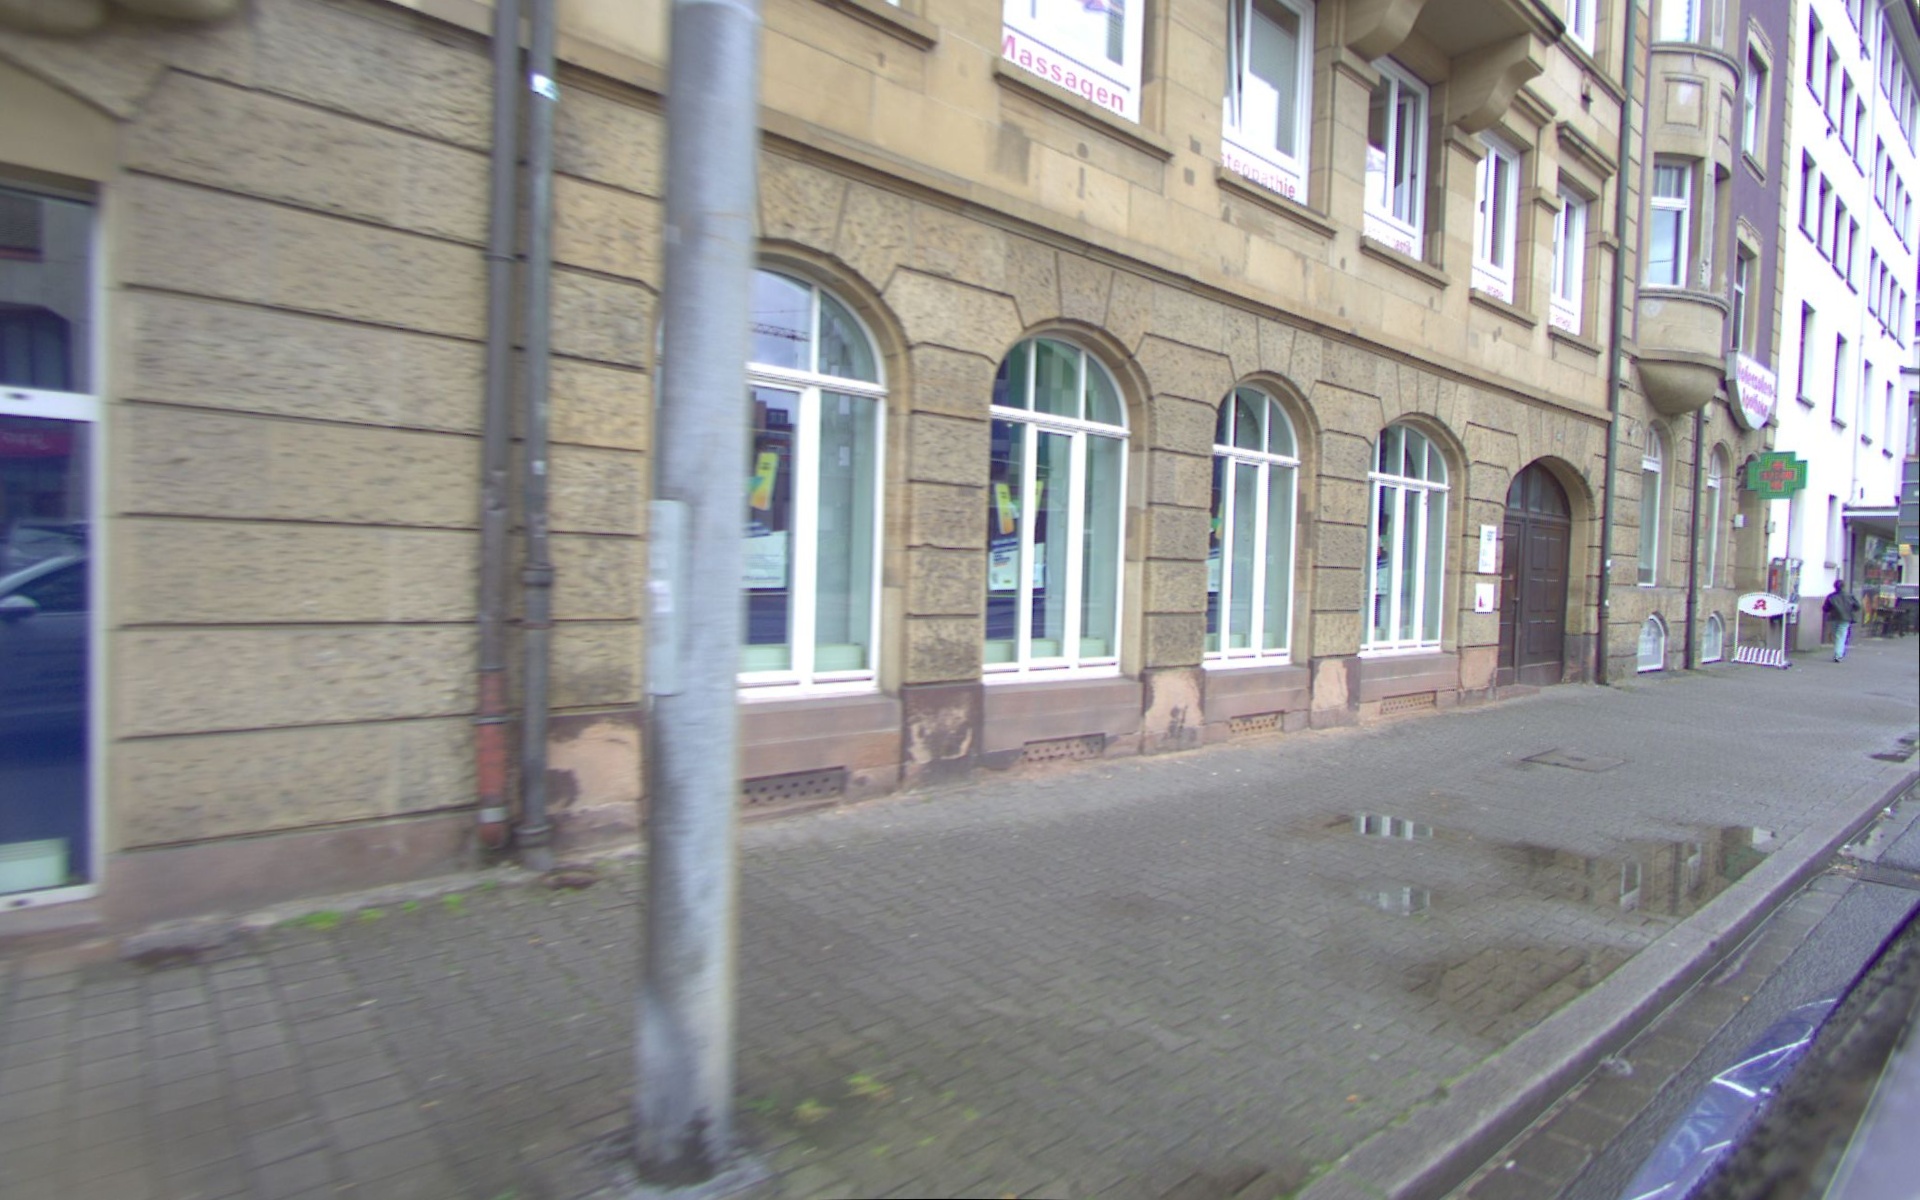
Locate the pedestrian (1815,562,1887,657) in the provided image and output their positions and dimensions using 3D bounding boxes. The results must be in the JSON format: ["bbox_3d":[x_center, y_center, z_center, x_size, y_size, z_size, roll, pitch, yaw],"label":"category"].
[{"bbox_3d":[16.873,0.166,19.172,0.882,1.741,0.675,0,2,-26],"label":"pedestrian"}]

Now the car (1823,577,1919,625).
[{"bbox_3d":[35.636,0.029,38.580,4.132,1.794,1.846,1,1,40],"label":"car"}]
